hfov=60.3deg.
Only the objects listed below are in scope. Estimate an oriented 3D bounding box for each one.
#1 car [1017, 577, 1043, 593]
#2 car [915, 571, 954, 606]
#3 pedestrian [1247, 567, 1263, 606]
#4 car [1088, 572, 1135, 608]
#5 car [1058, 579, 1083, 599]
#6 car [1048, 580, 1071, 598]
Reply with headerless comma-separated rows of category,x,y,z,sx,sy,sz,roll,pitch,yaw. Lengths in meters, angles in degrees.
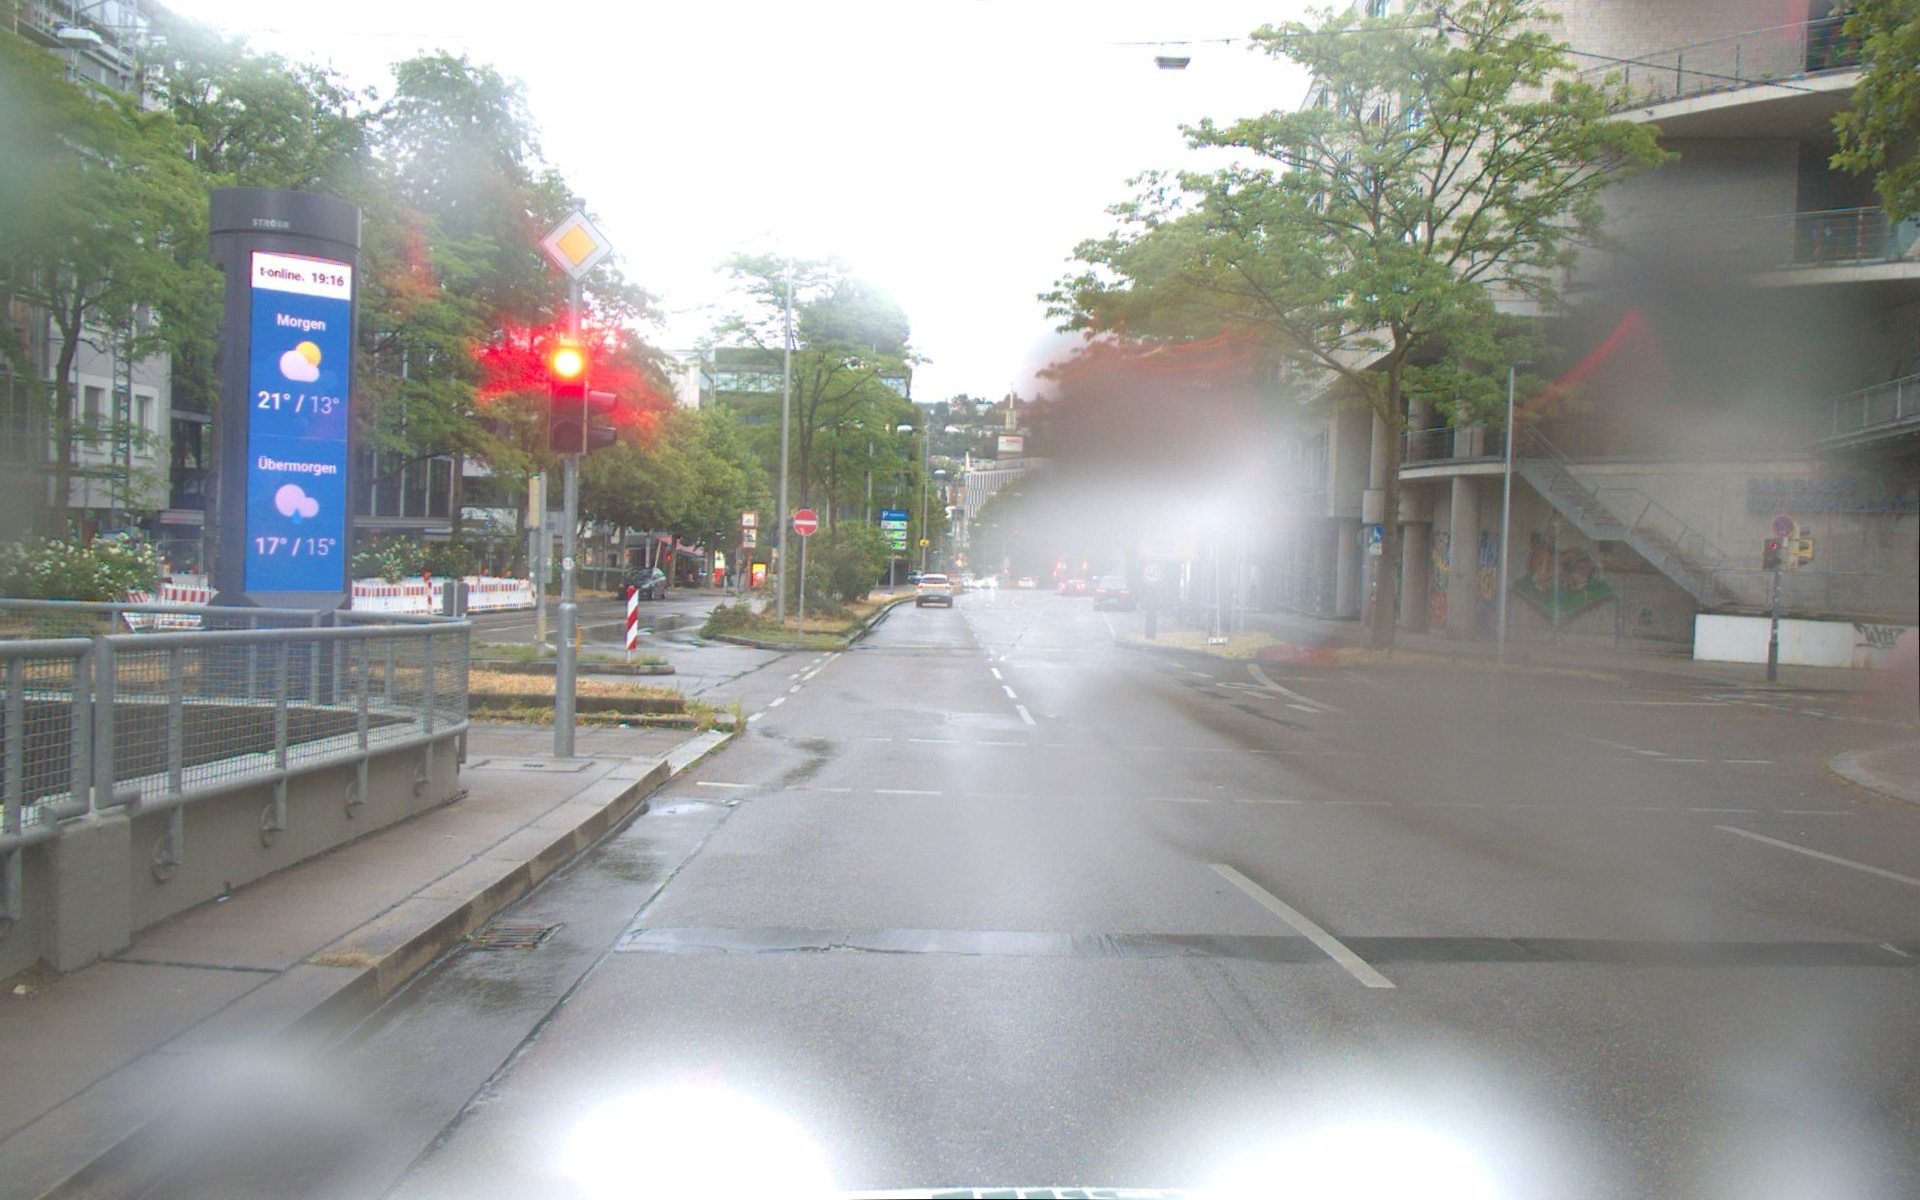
car,8.705,-1.876,205.123,1.953,1.789,3.999,2,0,23
car,-1.315,-0.568,83.830,1.792,1.668,4.298,2,0,-3
pedestrian,14.760,-0.662,82.878,0.759,1.954,0.703,1,-1,9
car,7.669,-0.504,83.540,2.288,1.720,4.003,1,1,6
car,10.331,-1.007,155.458,1.953,1.754,3.999,1,0,-2
car,10.031,-1.072,166.962,1.953,1.766,3.999,1,0,-1
